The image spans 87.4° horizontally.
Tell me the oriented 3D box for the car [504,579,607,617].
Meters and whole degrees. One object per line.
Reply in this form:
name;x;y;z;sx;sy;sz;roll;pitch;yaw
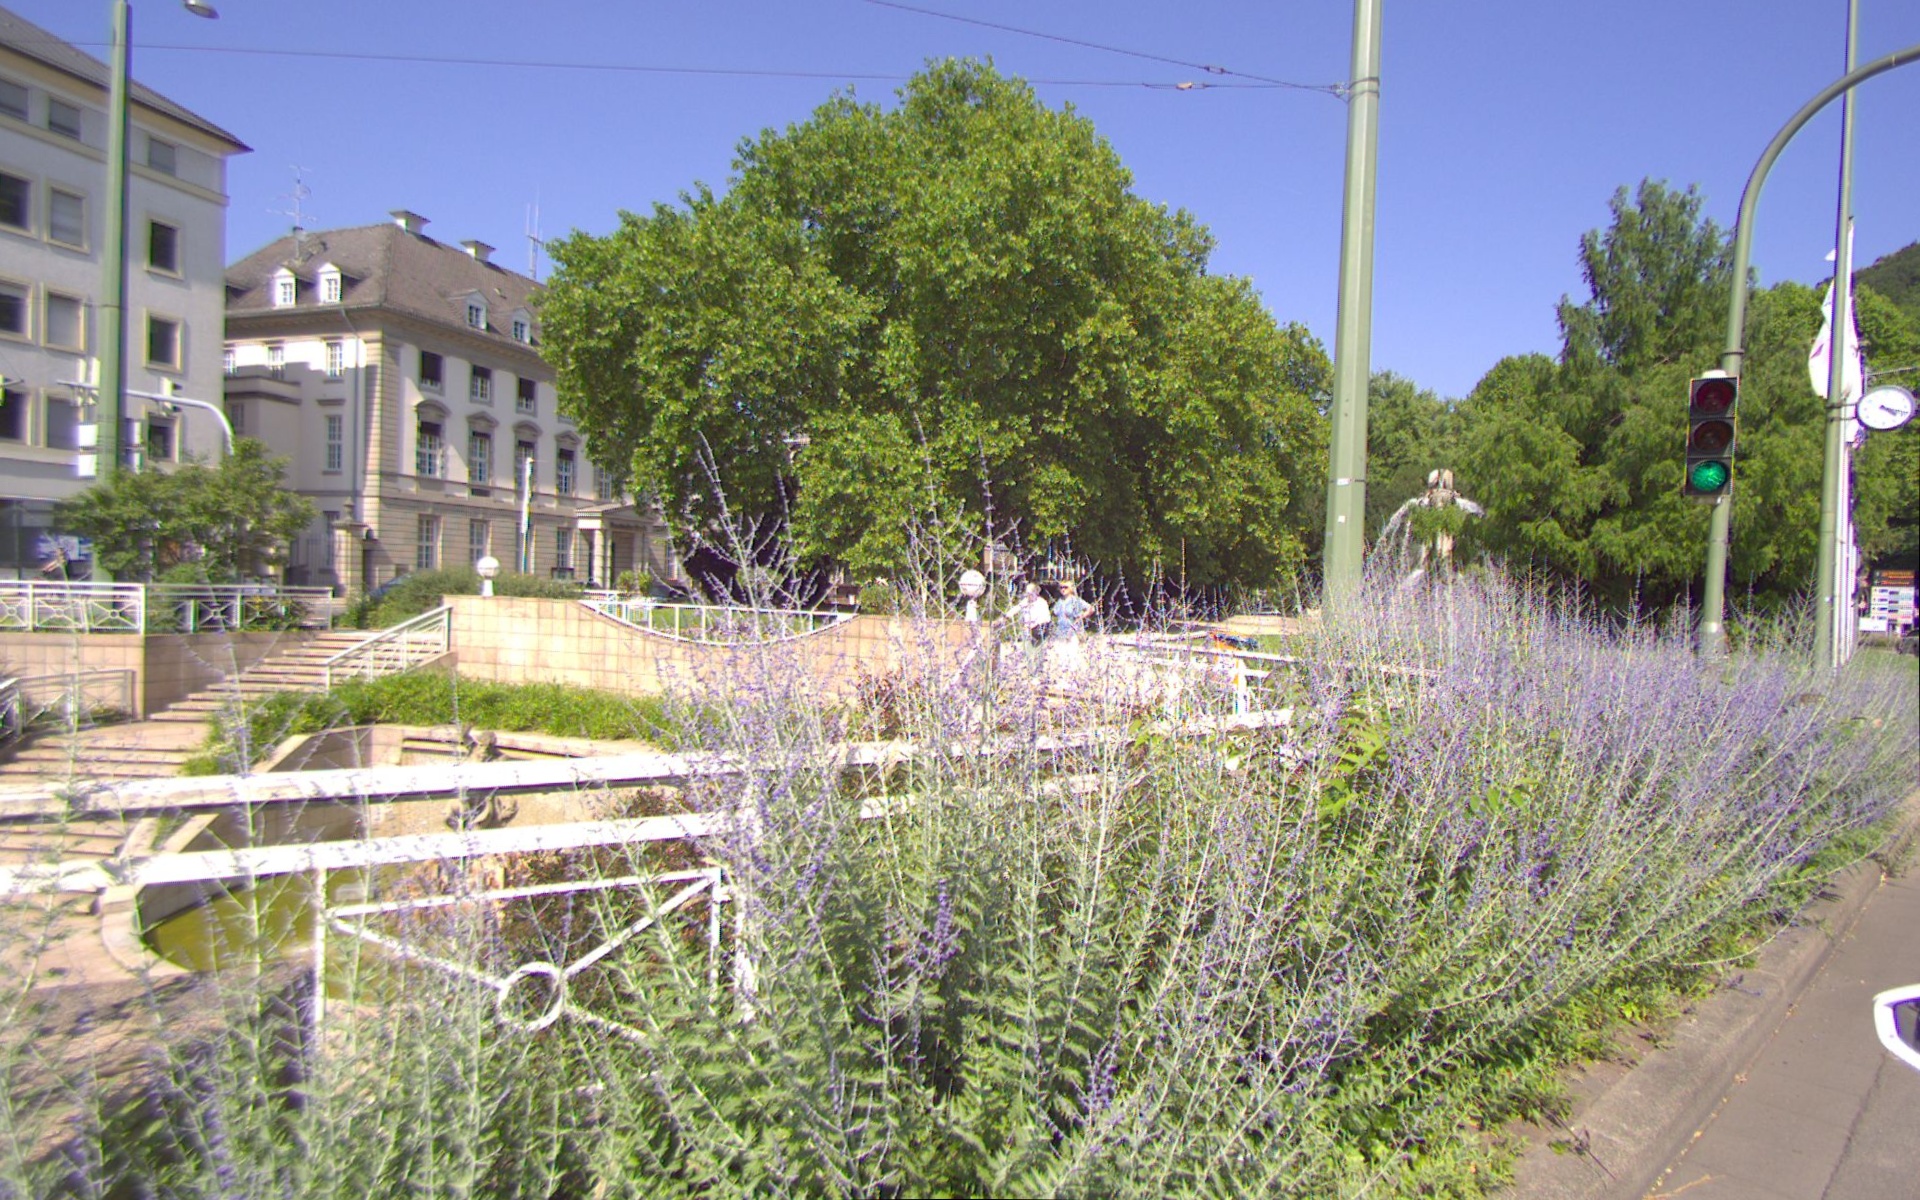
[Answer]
car;-14.911;-0.084;37.216;1.580;1.286;3.585;3;1;19

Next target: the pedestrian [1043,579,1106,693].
pedestrian;1.686;0.513;14.796;0.680;1.614;0.598;3;1;31

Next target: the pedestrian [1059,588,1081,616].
pedestrian;5.075;0.080;46.201;0.662;1.242;0.750;2;1;-30

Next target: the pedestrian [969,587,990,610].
pedestrian;1.145;-0.091;59.077;1.040;1.242;0.754;2;1;-13

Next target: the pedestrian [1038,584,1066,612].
pedestrian;4.314;-0.105;47.301;1.046;1.242;0.750;2;1;-31

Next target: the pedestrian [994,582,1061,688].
pedestrian;1.016;0.516;15.204;0.836;1.530;0.474;3;1;32

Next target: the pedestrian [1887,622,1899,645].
pedestrian;69.754;2.494;75.102;0.629;1.643;0.542;0;1;-43

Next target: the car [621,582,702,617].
car;-12.949;-0.035;43.718;1.580;1.397;3.585;3;1;19

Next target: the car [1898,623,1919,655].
car;46.900;1.913;48.454;1.817;1.480;3.483;3;1;34
